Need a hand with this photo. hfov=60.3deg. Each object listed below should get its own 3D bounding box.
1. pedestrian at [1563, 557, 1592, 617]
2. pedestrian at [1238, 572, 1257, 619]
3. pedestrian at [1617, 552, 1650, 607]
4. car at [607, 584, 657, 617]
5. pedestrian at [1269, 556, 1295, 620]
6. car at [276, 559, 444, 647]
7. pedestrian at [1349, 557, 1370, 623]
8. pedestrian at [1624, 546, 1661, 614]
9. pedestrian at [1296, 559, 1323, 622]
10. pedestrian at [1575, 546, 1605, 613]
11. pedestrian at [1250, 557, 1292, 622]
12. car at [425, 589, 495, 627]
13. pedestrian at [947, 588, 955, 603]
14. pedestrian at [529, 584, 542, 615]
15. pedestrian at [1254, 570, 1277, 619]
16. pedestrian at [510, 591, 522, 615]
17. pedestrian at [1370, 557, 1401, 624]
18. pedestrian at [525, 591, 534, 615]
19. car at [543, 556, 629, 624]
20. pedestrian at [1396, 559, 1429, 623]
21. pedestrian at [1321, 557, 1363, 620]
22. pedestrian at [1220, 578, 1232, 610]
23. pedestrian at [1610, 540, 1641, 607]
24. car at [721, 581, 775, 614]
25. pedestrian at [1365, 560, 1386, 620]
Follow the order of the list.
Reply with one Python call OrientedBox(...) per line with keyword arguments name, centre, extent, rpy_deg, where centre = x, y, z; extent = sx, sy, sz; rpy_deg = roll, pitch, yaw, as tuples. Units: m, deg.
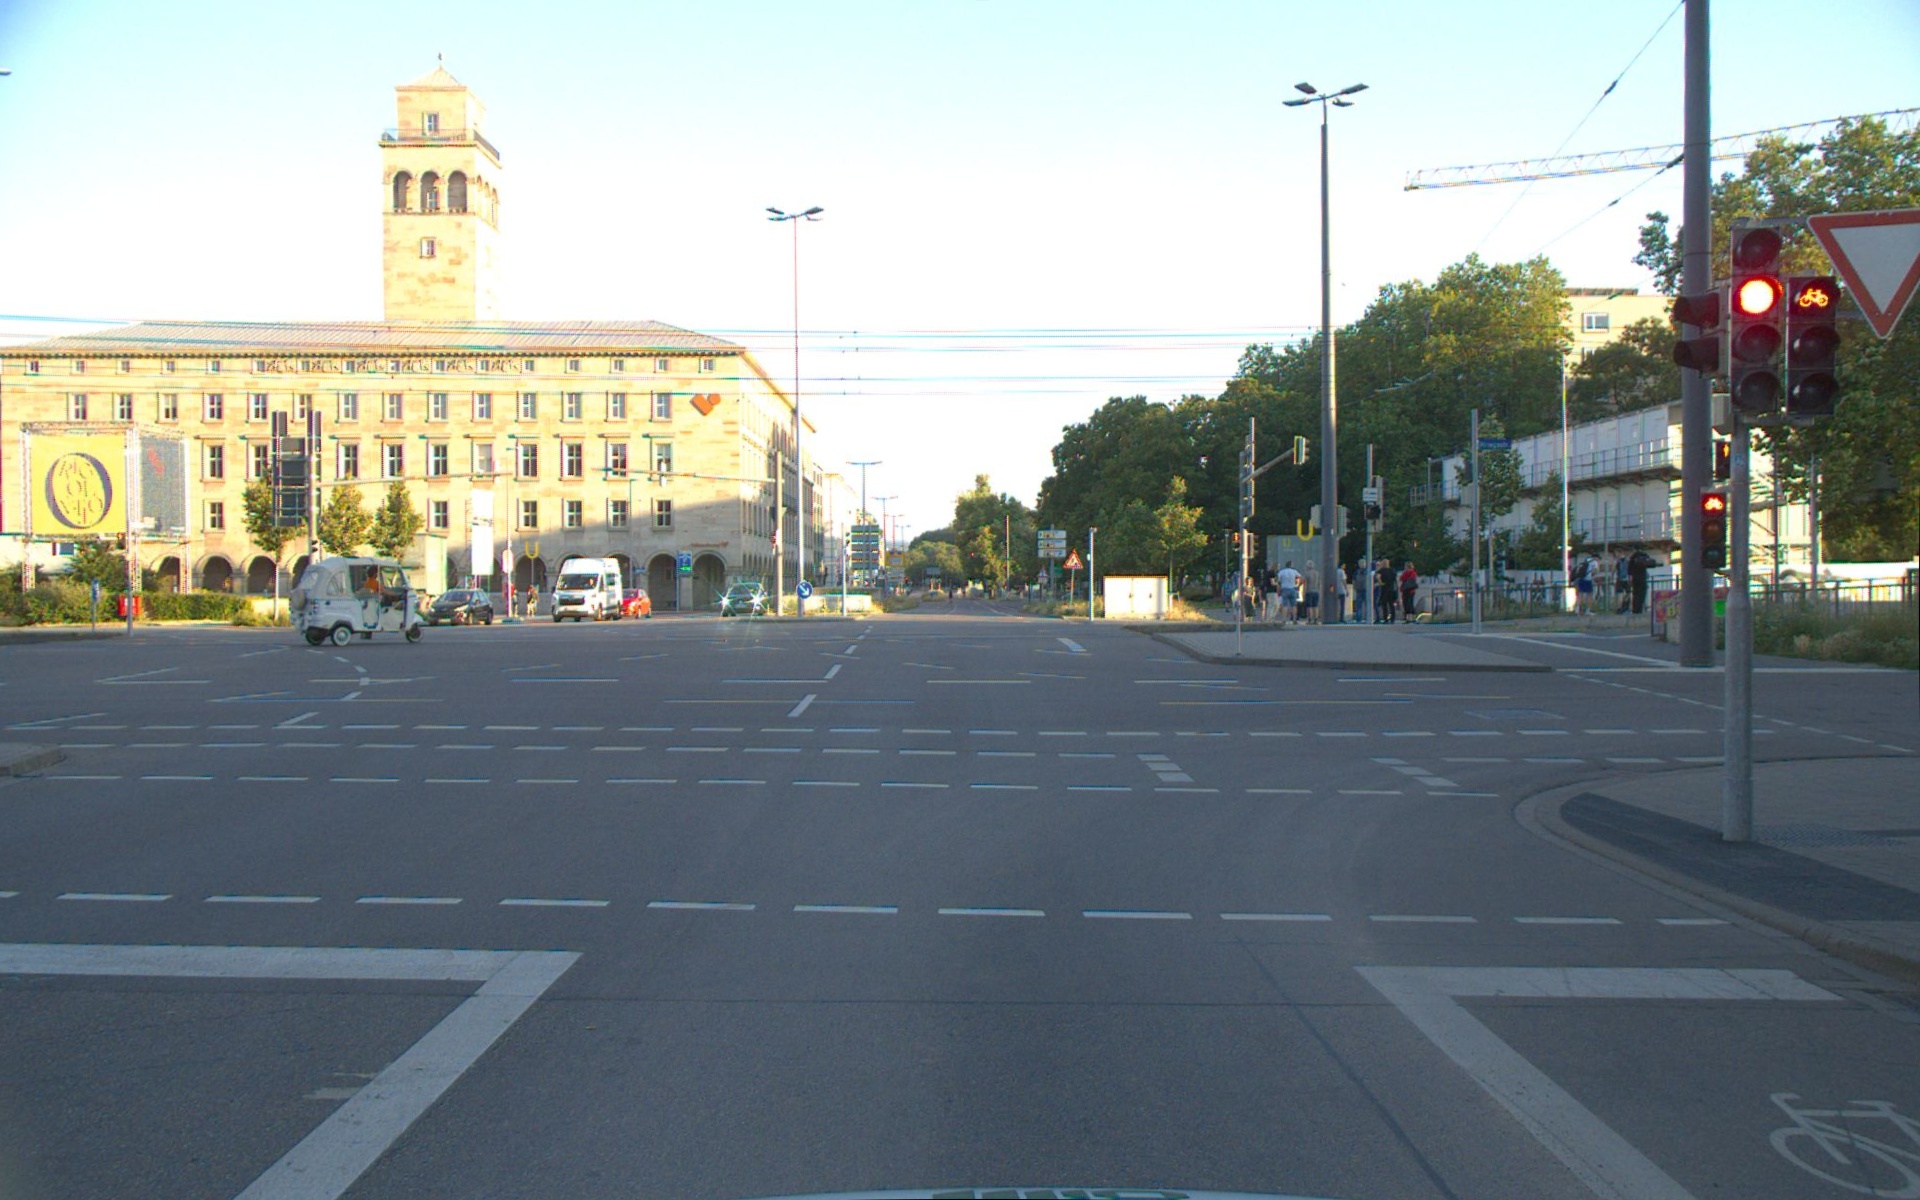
OrientedBox(name="pedestrian", centre=(16.882, -0.364, 45.226), extent=(0.559, 1.620, 0.536), rpy_deg=(-1, 0, -1))
OrientedBox(name="pedestrian", centre=(10.561, -0.169, 60.755), extent=(0.548, 1.683, 0.902), rpy_deg=(0, 1, 20))
OrientedBox(name="pedestrian", centre=(18.076, -0.556, 44.409), extent=(0.661, 1.466, 0.715), rpy_deg=(-1, 0, 7))
OrientedBox(name="car", centre=(-16.024, -0.003, 80.930), extent=(1.703, 1.513, 4.000), rpy_deg=(-1, 1, -1))
OrientedBox(name="pedestrian", centre=(8.976, -0.335, 46.079), extent=(0.695, 1.755, 0.669), rpy_deg=(0, 1, 12))
OrientedBox(name="car", centre=(-12.391, 0.033, 34.258), extent=(1.460, 1.725, 2.959), rpy_deg=(0, 1, 40))
OrientedBox(name="pedestrian", centre=(11.073, -0.285, 45.828), extent=(0.560, 1.822, 0.639), rpy_deg=(0, 1, 13))
OrientedBox(name="pedestrian", centre=(17.692, -0.518, 42.877), extent=(0.653, 1.755, 0.712), rpy_deg=(-1, 1, -4))
OrientedBox(name="pedestrian", centre=(9.704, -0.267, 45.919), extent=(0.695, 1.755, 0.669), rpy_deg=(0, 1, 13))
OrientedBox(name="pedestrian", centre=(16.880, -0.548, 44.335), extent=(0.652, 1.755, 0.714), rpy_deg=(0, 1, 13))
OrientedBox(name="pedestrian", centre=(8.512, -0.286, 45.236), extent=(0.902, 1.755, 0.706), rpy_deg=(-1, 1, -28))
OrientedBox(name="car", centre=(-21.101, 0.316, 69.958), extent=(1.786, 1.491, 4.156), rpy_deg=(-1, 1, -2))
OrientedBox(name="pedestrian", centre=(-1.089, -0.500, 195.000), extent=(0.888, 1.700, 1.306), rpy_deg=(-1, 1, -2))
OrientedBox(name="pedestrian", centre=(-24.137, -0.042, 93.961), extent=(0.609, 1.774, 0.459), rpy_deg=(1, -1, -6))
OrientedBox(name="pedestrian", centre=(11.210, -0.212, 60.709), extent=(0.665, 1.788, 0.902), rpy_deg=(0, 1, 20))
OrientedBox(name="pedestrian", centre=(-24.915, 0.159, 92.789), extent=(0.496, 1.323, 0.700), rpy_deg=(1, -1, -6))
OrientedBox(name="pedestrian", centre=(11.781, -0.274, 45.809), extent=(0.788, 1.822, 0.801), rpy_deg=(0, 1, 13))
OrientedBox(name="pedestrian", centre=(-24.074, 0.156, 92.466), extent=(0.412, 1.323, 0.459), rpy_deg=(1, -1, -6))
OrientedBox(name="car", centre=(-16.244, -0.465, 72.230), extent=(2.232, 2.824, 6.085), rpy_deg=(-1, 1, 1))
OrientedBox(name="pedestrian", centre=(12.623, -0.259, 46.182), extent=(0.826, 1.764, 0.706), rpy_deg=(0, 1, 11))
OrientedBox(name="pedestrian", centre=(10.785, -0.335, 46.692), extent=(0.901, 1.755, 0.707), rpy_deg=(-1, 1, -26))
OrientedBox(name="pedestrian", centre=(14.824, -0.332, 92.154), extent=(0.628, 1.791, 0.525), rpy_deg=(0, 1, 7))
OrientedBox(name="pedestrian", centre=(17.611, -0.687, 43.783), extent=(0.696, 1.755, 0.669), rpy_deg=(0, 1, 16))
OrientedBox(name="car", centre=(-9.254, -0.127, 72.486), extent=(1.785, 1.365, 4.001), rpy_deg=(0, 1, 1))
OrientedBox(name="pedestrian", centre=(11.889, -0.279, 47.305), extent=(0.560, 1.708, 0.639), rpy_deg=(0, 1, 13))
